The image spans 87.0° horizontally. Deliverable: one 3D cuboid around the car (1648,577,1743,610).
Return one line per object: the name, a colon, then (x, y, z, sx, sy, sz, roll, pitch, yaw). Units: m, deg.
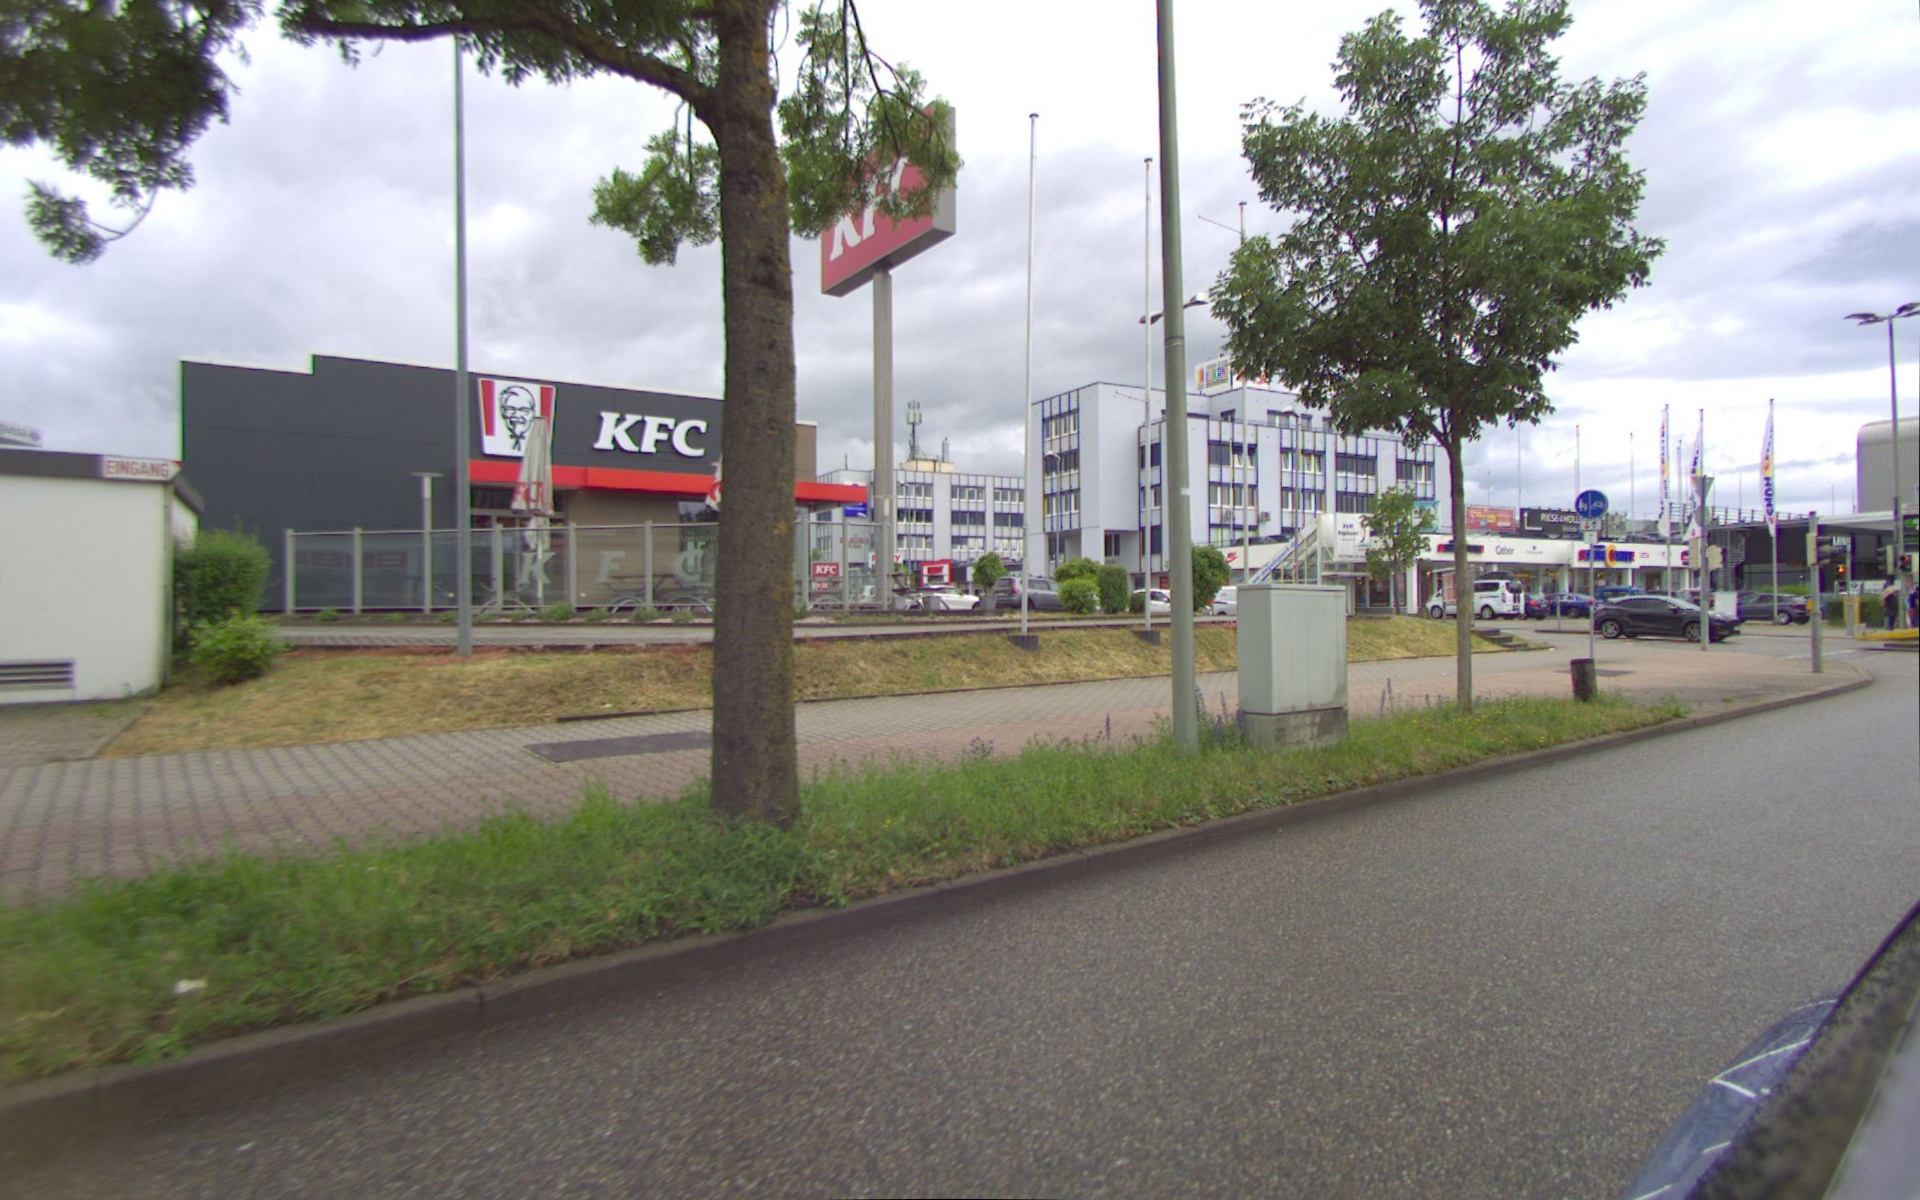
car: (45.458, -0.410, 62.624, 1.858, 1.930, 4.380, 0, 1, -28)

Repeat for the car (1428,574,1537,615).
car: (27.255, -0.313, 52.940, 1.959, 2.039, 4.794, 0, 0, -27)

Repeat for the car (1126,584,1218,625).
car: (9.425, 0.165, 45.211, 1.788, 1.730, 4.003, 0, 1, -32)

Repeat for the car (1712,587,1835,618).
car: (38.165, 0.086, 47.590, 1.786, 1.411, 4.134, 0, 1, -25)

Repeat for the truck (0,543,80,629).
truck: (-41.606, -0.541, 41.710, 8.025, 3.572, 2.277, -1, -1, -41)

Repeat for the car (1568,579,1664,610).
car: (38.592, -0.338, 59.617, 1.858, 1.786, 4.380, 0, 1, -28)

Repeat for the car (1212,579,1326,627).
car: (12.368, 0.093, 40.717, 1.763, 1.806, 4.252, 3, -1, -32)

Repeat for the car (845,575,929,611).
car: (-3.871, -0.382, 53.894, 4.106, 1.797, 1.882, 0, 1, -35)

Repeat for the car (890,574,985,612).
car: (-1.072, -0.339, 49.679, 4.419, 1.762, 1.892, 0, 0, -37)

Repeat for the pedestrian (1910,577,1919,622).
pedestrian: (40.522, -0.022, 42.416, 0.683, 1.879, 0.817, -1, 2, -28)

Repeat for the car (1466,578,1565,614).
car: (29.937, -0.239, 54.671, 1.858, 1.843, 4.380, 0, 1, -28)

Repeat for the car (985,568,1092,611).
car: (3.392, -0.450, 43.533, 4.416, 1.762, 1.893, 0, 1, -35)

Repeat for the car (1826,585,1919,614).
car: (47.910, -0.050, 52.519, 1.861, 1.411, 4.132, 0, 1, -28)

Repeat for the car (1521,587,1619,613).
car: (34.081, -0.019, 56.649, 1.786, 1.411, 4.380, 0, 1, -28)

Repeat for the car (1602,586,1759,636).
car: (24.330, 0.336, 34.288, 1.781, 1.559, 3.999, -2, 1, -36)

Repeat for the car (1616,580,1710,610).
car: (42.871, -0.310, 61.827, 1.858, 1.786, 4.380, 0, 1, -28)

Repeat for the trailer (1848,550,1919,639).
trailer: (29.438, -0.181, 27.322, 2.271, 2.506, 7.955, 1, -2, -41)

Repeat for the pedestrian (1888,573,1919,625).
pedestrian: (38.005, -0.050, 40.645, 0.805, 2.039, 0.693, 1, 1, 18)

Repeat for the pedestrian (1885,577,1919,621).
pedestrian: (39.259, -0.047, 42.143, 0.805, 1.796, 0.693, 1, 2, 18)

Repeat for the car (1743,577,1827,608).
car: (55.611, -0.536, 68.279, 1.871, 2.039, 4.007, 0, 1, -25)
